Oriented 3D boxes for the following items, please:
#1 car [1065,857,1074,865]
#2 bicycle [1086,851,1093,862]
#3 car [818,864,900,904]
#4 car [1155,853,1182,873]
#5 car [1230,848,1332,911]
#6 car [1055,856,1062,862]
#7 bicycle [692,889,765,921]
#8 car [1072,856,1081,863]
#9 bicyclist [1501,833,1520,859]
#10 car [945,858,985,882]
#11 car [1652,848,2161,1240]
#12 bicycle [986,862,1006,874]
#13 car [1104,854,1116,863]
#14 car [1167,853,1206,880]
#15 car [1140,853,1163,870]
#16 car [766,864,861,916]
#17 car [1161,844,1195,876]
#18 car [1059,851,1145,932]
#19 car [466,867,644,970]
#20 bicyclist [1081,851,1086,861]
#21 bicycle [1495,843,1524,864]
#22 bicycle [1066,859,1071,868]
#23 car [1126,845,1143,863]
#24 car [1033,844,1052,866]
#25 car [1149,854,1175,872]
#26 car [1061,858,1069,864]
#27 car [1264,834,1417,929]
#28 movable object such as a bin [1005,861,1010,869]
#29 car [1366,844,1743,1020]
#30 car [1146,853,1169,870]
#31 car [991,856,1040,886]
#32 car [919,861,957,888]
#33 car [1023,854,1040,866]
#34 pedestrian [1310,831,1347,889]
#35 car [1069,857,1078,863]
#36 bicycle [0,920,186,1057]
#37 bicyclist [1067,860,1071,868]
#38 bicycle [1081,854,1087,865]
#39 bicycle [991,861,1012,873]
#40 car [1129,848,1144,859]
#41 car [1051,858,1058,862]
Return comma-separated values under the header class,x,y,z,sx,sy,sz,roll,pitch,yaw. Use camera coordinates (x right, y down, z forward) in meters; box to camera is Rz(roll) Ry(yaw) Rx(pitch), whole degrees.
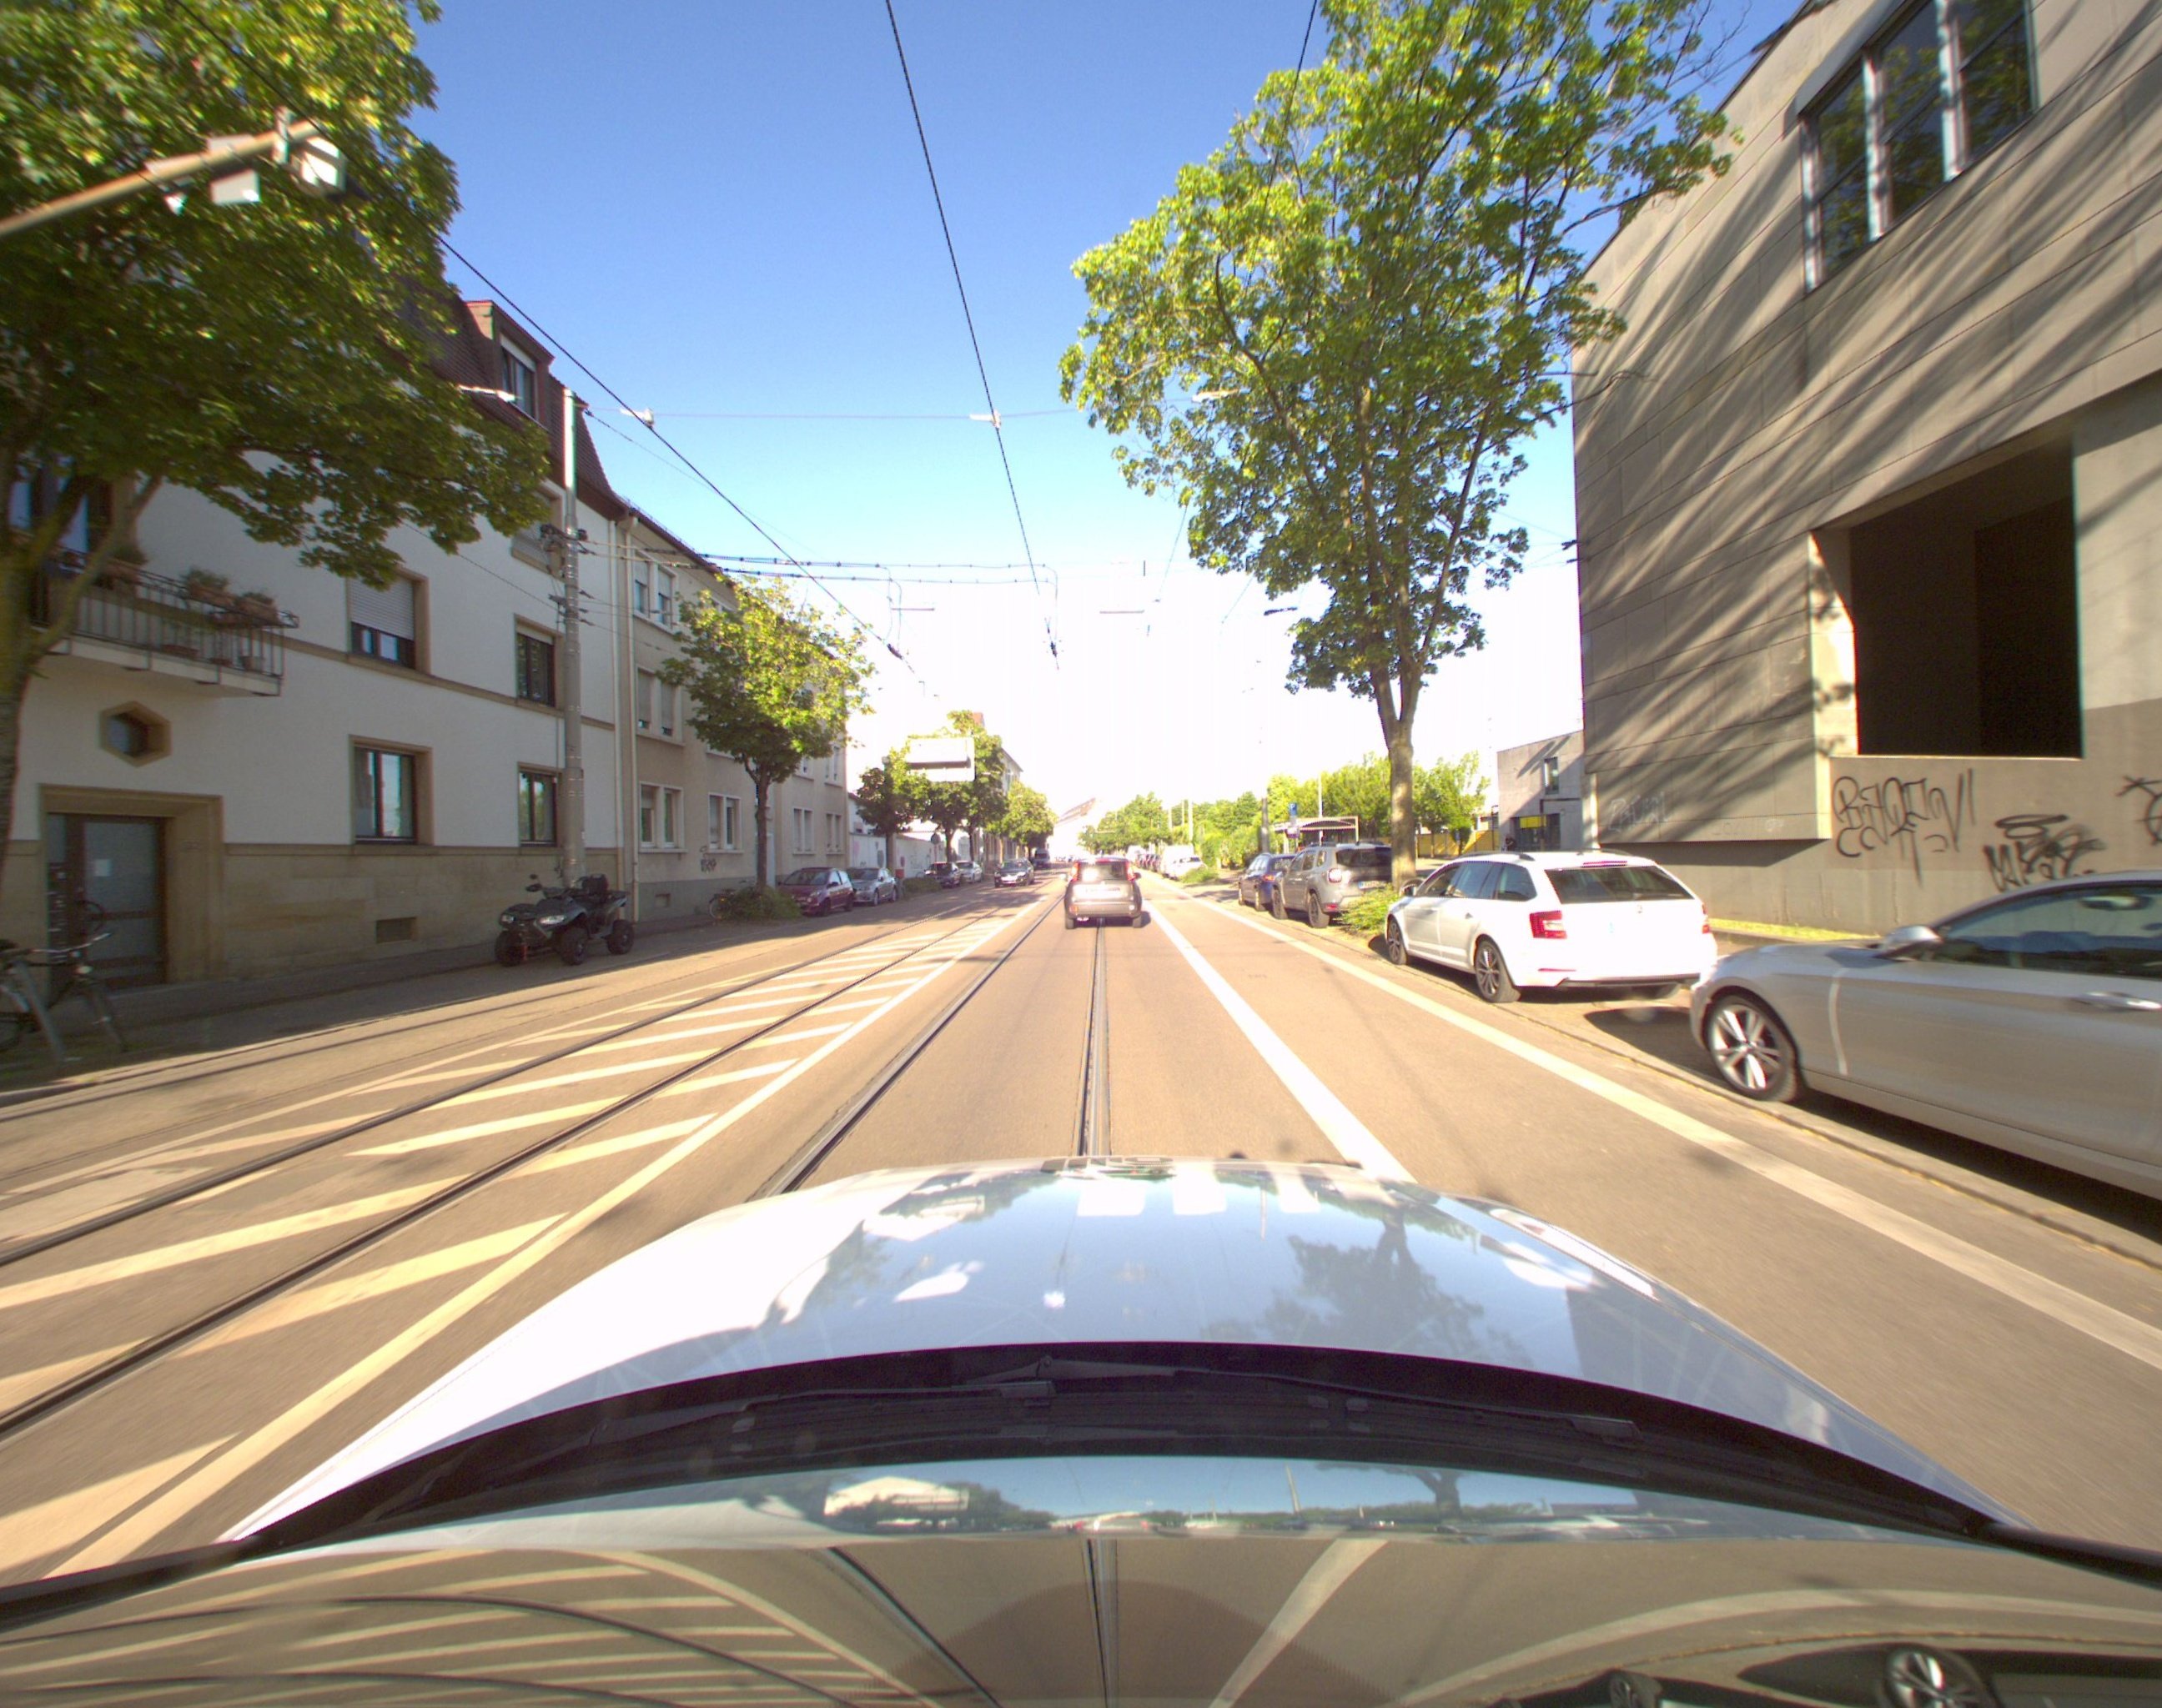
class,x,y,z,sx,sy,sz,roll,pitch,yaw
car,-2.856,1.744,206.099,1.655,1.944,4.650,0,-1,-9
bicycle,1.316,0.336,128.765,0.675,1.747,2.150,0,-1,-9
car,-8.411,1.099,31.259,1.866,1.429,4.294,0,0,2
car,6.601,0.702,61.843,1.865,1.473,4.079,0,-1,3
car,5.312,0.646,22.213,1.696,1.481,4.659,-2,-1,1
car,-6.157,1.435,223.929,1.583,1.405,3.365,-5,0,-9
bicycle,-9.266,1.343,21.438,1.782,0.802,0.276,0,-1,-1
car,-1.053,1.362,194.026,1.655,1.571,3.488,0,-1,-9
bicyclist,22.443,-0.414,42.518,0.721,1.384,0.585,-1,-1,45
car,-7.694,1.048,54.325,1.858,1.490,4.662,0,0,1
car,4.748,0.682,3.454,1.702,1.408,4.329,0,0,1
bicycle,-7.324,1.208,70.047,0.661,1.040,1.798,-1,-1,39
car,5.122,0.782,144.229,1.686,1.530,3.992,-3,0,-5
car,6.154,0.707,48.026,1.670,1.418,4.501,-3,0,0
car,6.964,0.762,80.980,1.818,1.493,3.814,-3,0,0
car,-8.399,1.072,25.916,1.566,1.505,4.001,0,-1,2
car,6.294,0.395,53.433,1.846,1.991,5.246,-2,-1,3
car,0.472,0.748,18.274,1.644,1.541,4.235,-2,0,1
car,-9.060,1.051,14.238,1.350,1.502,2.549,0,2,2
bicyclist,0.413,0.383,137.497,0.699,1.759,0.755,0,-1,-10
bicycle,22.325,-0.043,42.427,2.021,1.071,0.745,0,-1,-44
bicycle,-2.811,2.259,189.294,0.741,2.014,2.802,0,-1,-9
car,8.188,0.004,125.081,2.173,2.665,6.090,-4,-1,0
car,-5.034,0.190,107.502,2.009,2.826,6.036,0,-1,3
car,6.610,0.730,66.743,1.817,1.484,4.604,0,0,2
car,-4.150,1.871,213.527,1.655,1.500,3.120,0,-1,-9
car,5.174,0.508,16.886,1.737,1.712,4.275,0,-1,-1
movable object such as a bin,-8.902,1.330,98.796,0.594,0.934,0.568,-2,0,-1
car,4.853,0.645,9.270,1.706,1.490,4.625,0,0,1
car,7.053,0.710,75.082,1.817,1.452,4.644,-2,0,2
car,-3.444,0.892,43.704,1.757,1.463,4.753,-2,-1,5
car,-8.168,1.152,46.698,1.770,1.486,4.297,0,-1,-5
car,-6.097,0.703,100.046,1.645,1.425,4.191,0,0,2
pedestrian,8.104,0.191,26.697,0.668,1.789,1.304,-5,-1,1
car,-1.723,1.493,198.475,1.655,1.571,3.864,0,-1,-9
bicycle,-8.989,1.204,7.375,1.335,1.169,0.409,0,-1,2
bicyclist,-2.818,2.338,189.431,0.715,2.014,0.829,0,-1,-10
bicycle,0.433,0.915,137.415,0.675,1.747,2.150,0,-1,-9
bicycle,-7.184,1.148,73.628,1.998,1.040,0.526,0,-1,-44
car,7.985,-0.107,118.327,1.904,1.530,4.600,-2,0,1
car,-7.776,1.750,236.289,1.583,1.405,3.365,0,-1,-9
